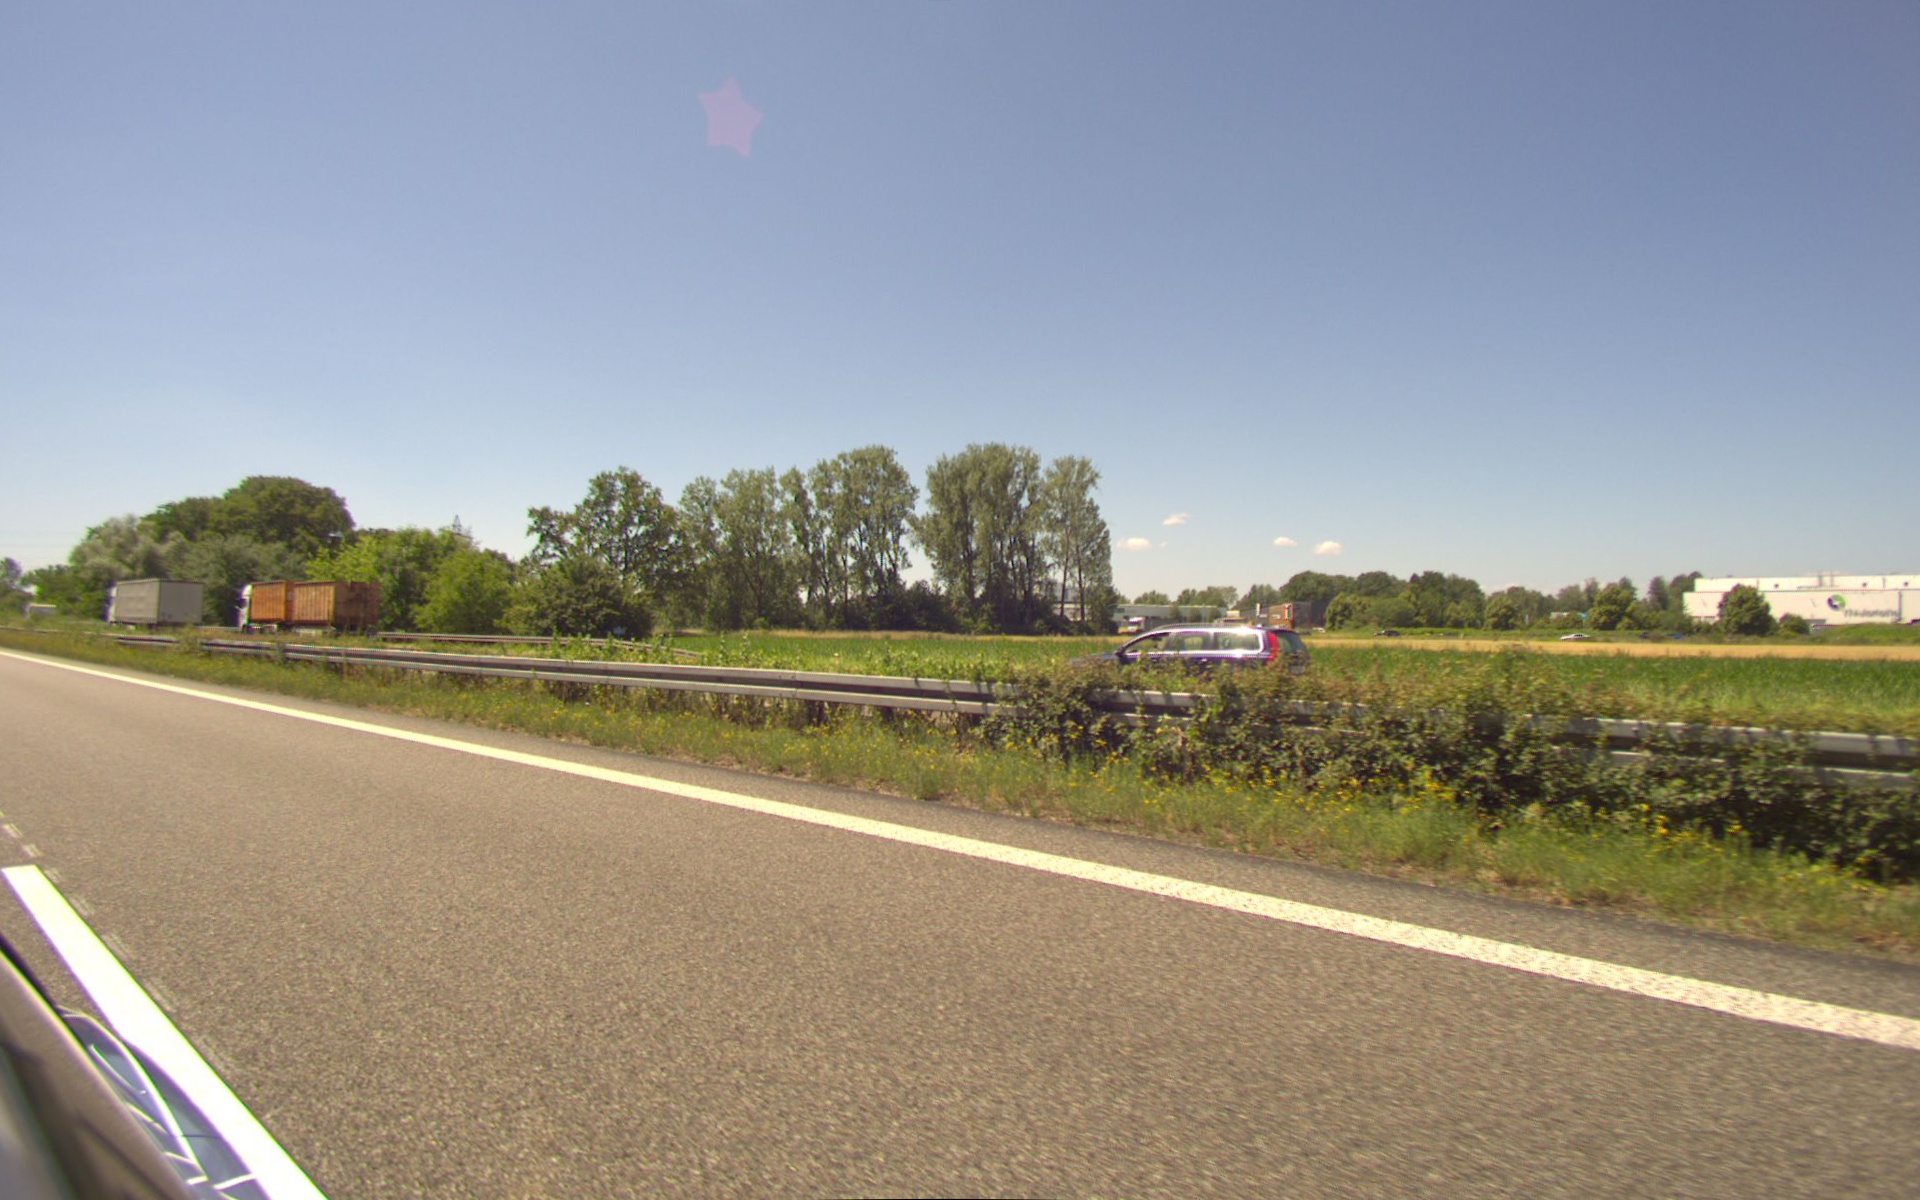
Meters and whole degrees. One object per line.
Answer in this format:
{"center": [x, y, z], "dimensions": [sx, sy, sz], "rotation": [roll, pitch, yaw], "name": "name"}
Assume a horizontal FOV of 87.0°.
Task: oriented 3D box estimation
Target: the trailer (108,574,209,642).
{"center": [-57.360, 0.596, 72.272], "dimensions": [13.319, 4.456, 3.162], "rotation": [0, -2, 41], "name": "trailer"}

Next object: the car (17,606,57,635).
{"center": [-100.464, 2.208, 110.128], "dimensions": [8.084, 3.005, 2.519], "rotation": [-1, -2, 43], "name": "car"}

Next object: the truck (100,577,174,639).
{"center": [-62.317, 0.642, 76.594], "dimensions": [6.977, 4.460, 3.128], "rotation": [0, -2, 41], "name": "truck"}

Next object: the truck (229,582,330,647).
{"center": [-44.828, 0.998, 66.481], "dimensions": [10.821, 3.914, 2.621], "rotation": [-1, -4, 41], "name": "truck"}

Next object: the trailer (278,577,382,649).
{"center": [-37.483, 0.837, 60.046], "dimensions": [8.656, 3.950, 2.631], "rotation": [-1, -4, 41], "name": "trailer"}

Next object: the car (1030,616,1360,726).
{"center": [4.059, 1.163, 18.256], "dimensions": [5.550, 1.693, 1.972], "rotation": [-1, -2, 42], "name": "car"}
